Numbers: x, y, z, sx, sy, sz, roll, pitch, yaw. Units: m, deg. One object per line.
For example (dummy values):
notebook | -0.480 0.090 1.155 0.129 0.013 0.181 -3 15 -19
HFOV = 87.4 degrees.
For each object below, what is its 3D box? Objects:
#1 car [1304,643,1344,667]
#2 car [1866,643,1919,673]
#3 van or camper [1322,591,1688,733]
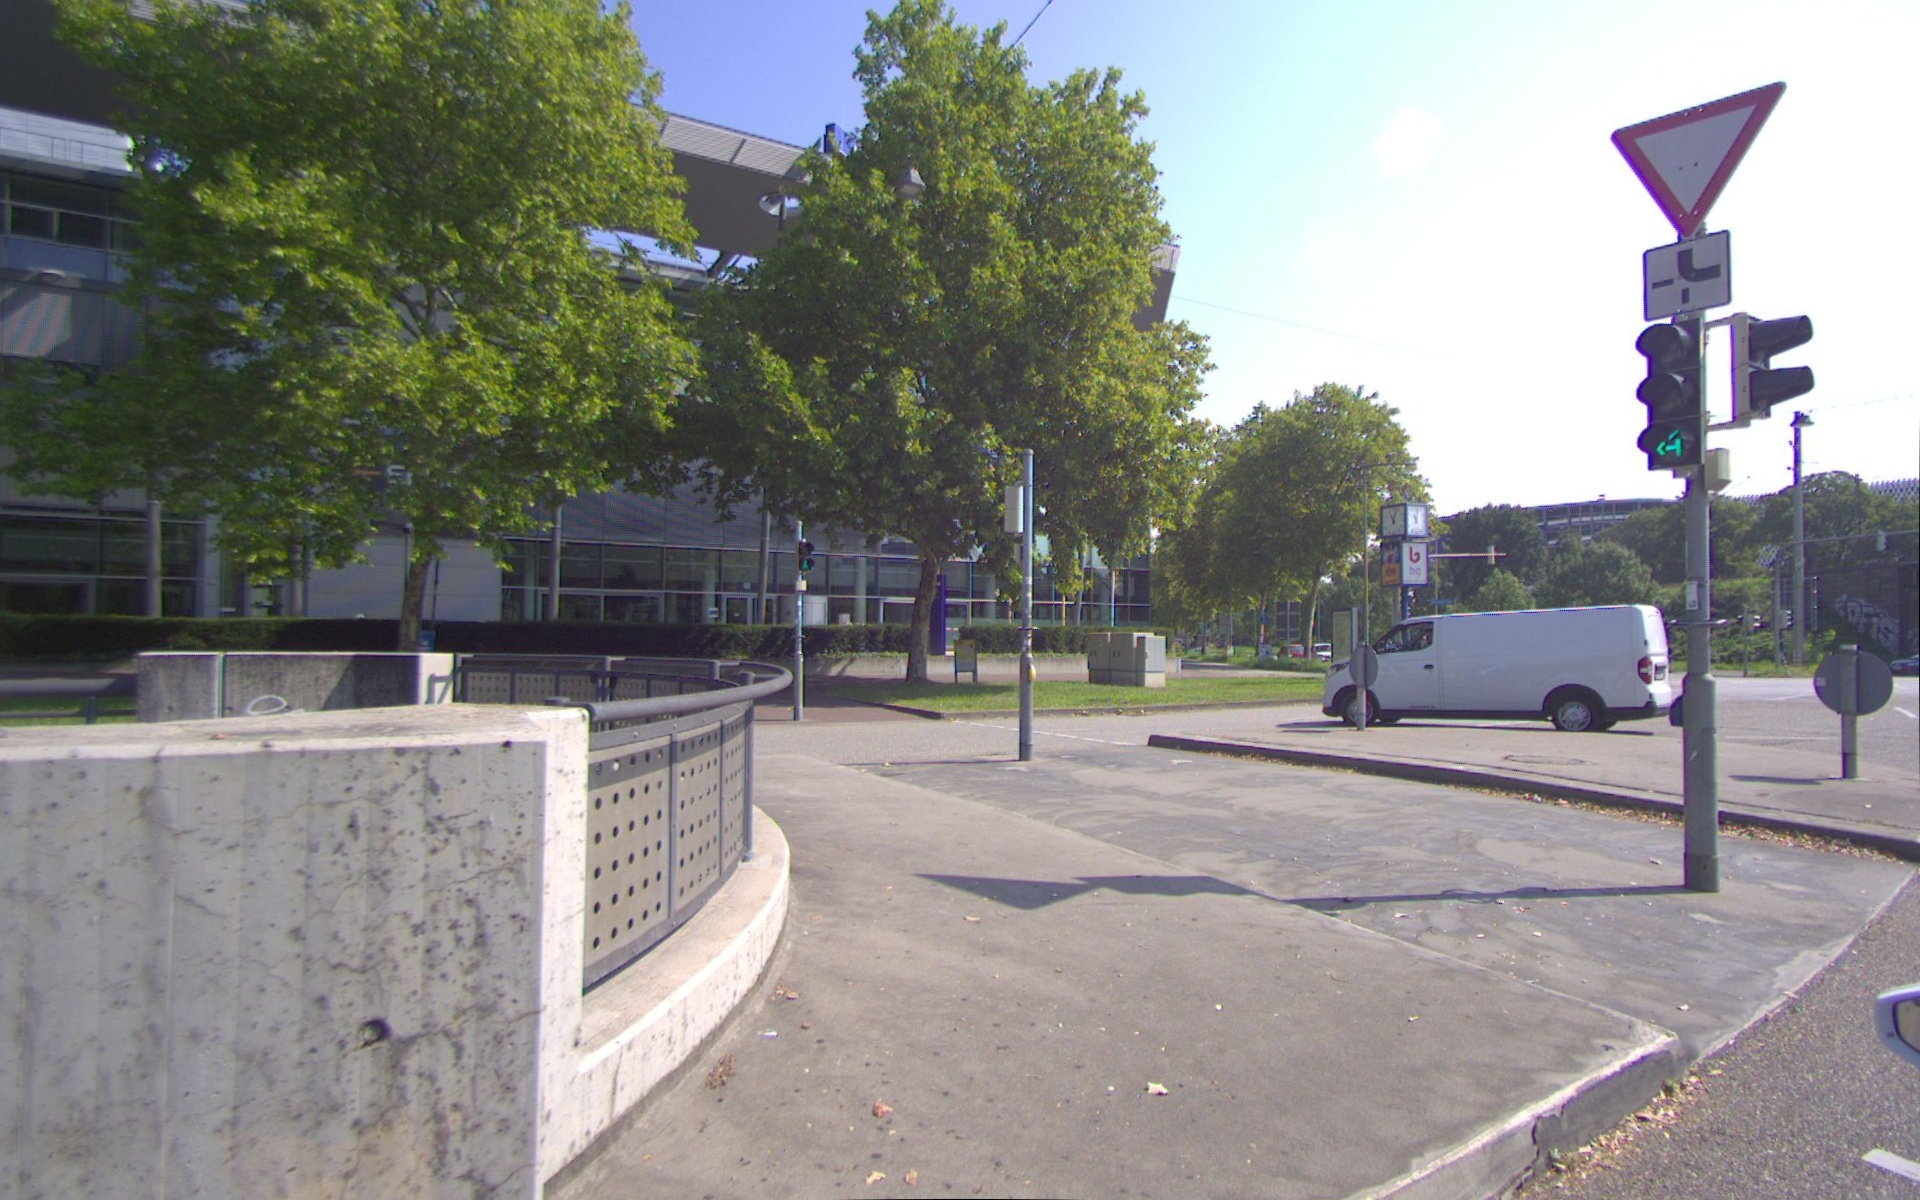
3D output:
car | 24.169 3.648 66.766 1.639 1.555 3.734 -2 -3 7
car | 50.478 3.094 52.694 3.919 1.447 1.787 2 0 14
van or camper | 8.668 0.993 16.356 1.835 1.972 4.883 2 -4 -44
